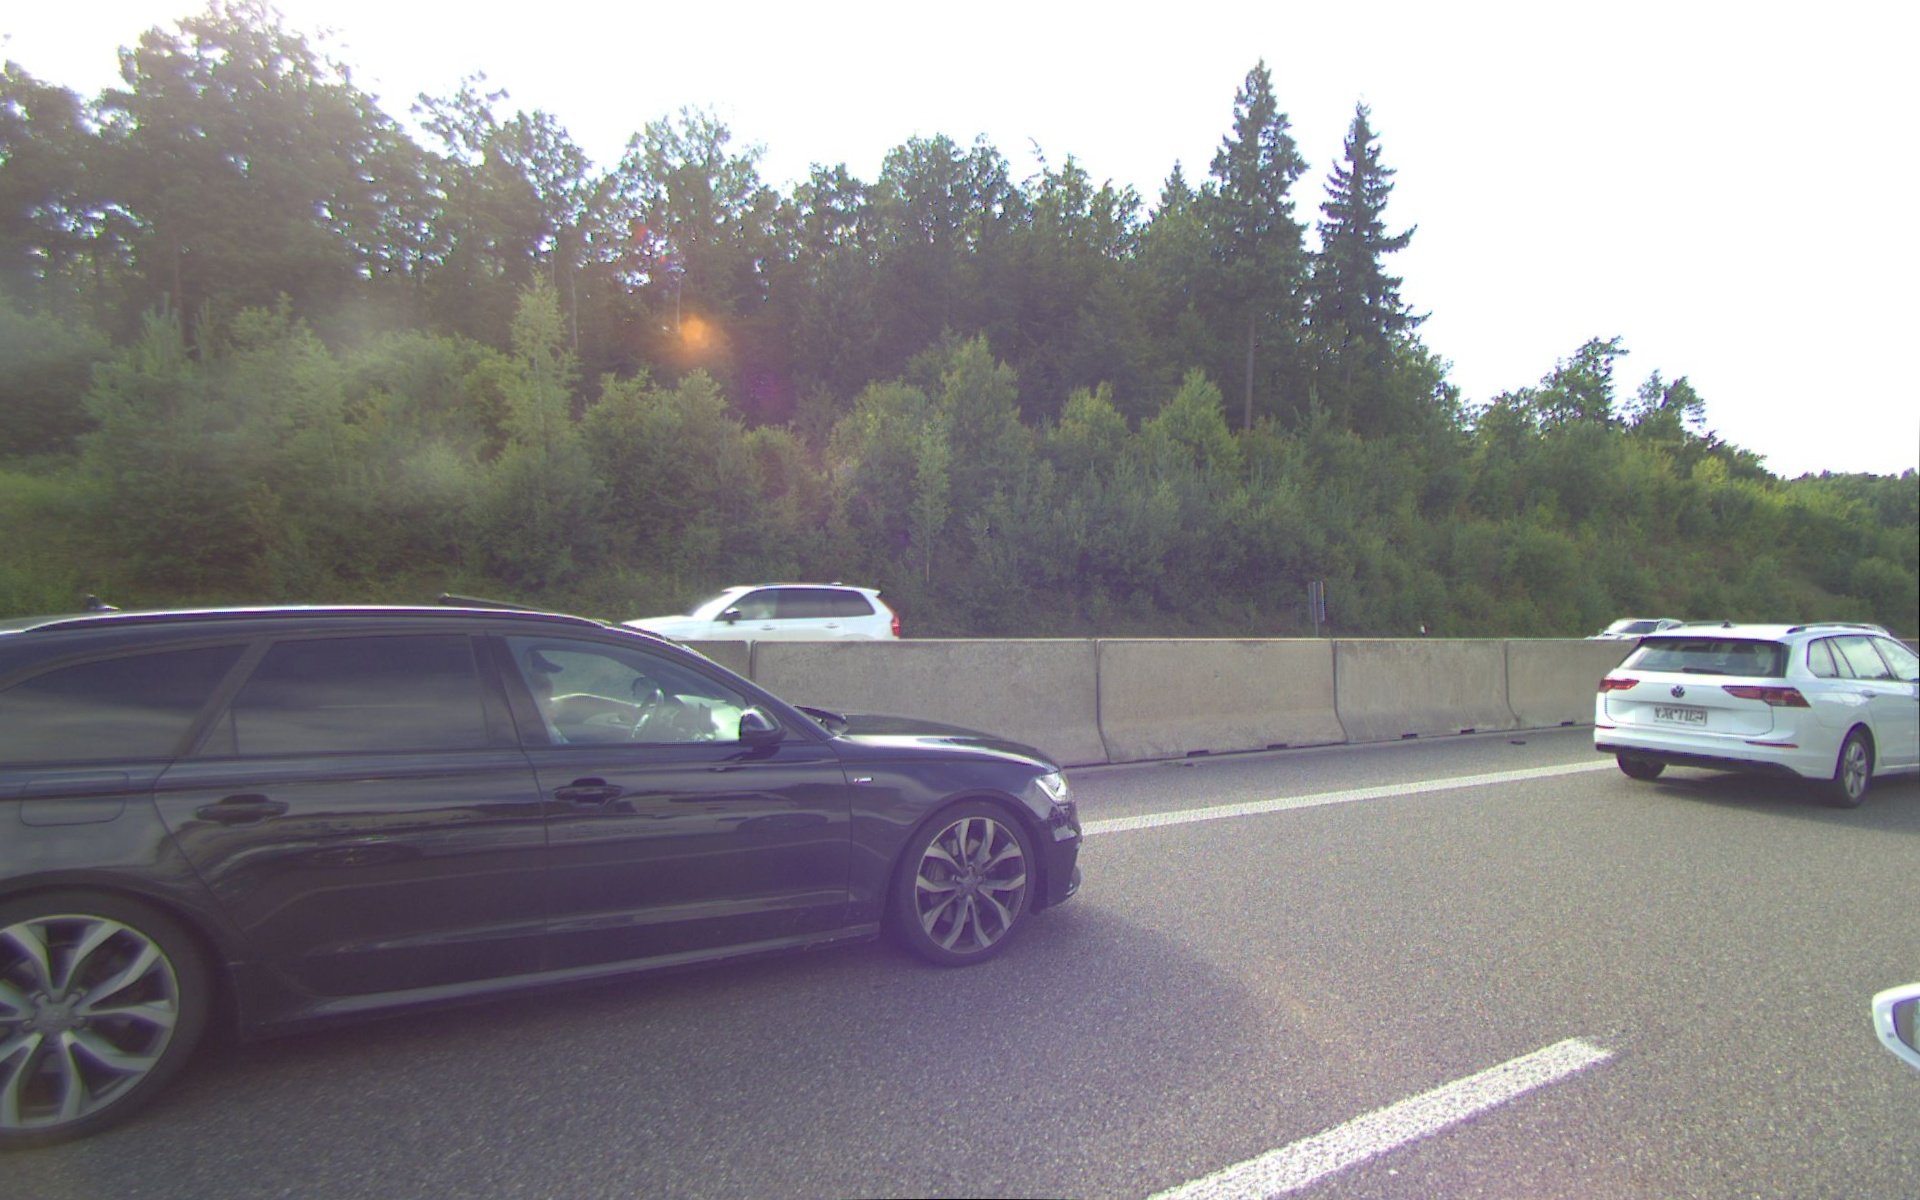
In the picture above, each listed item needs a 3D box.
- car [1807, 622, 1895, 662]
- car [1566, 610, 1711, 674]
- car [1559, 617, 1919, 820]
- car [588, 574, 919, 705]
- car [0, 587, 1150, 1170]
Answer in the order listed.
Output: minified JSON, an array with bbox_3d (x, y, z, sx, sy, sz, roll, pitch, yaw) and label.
[{"bbox_3d":[43.381,2.031,48.870,4.868,1.834,1.842,1,0,-31],"label":"car"},{"bbox_3d":[21.102,1.261,31.197,4.868,1.834,1.842,1,0,-31],"label":"car"},{"bbox_3d":[7.682,0.949,9.314,4.257,1.480,1.796,2,-1,-30],"label":"car"},{"bbox_3d":[-3.232,0.589,16.107,4.868,1.834,1.842,1,0,-31],"label":"car"},{"bbox_3d":[-1.636,0.728,4.079,4.692,1.475,1.834,1,0,-31],"label":"car"}]
